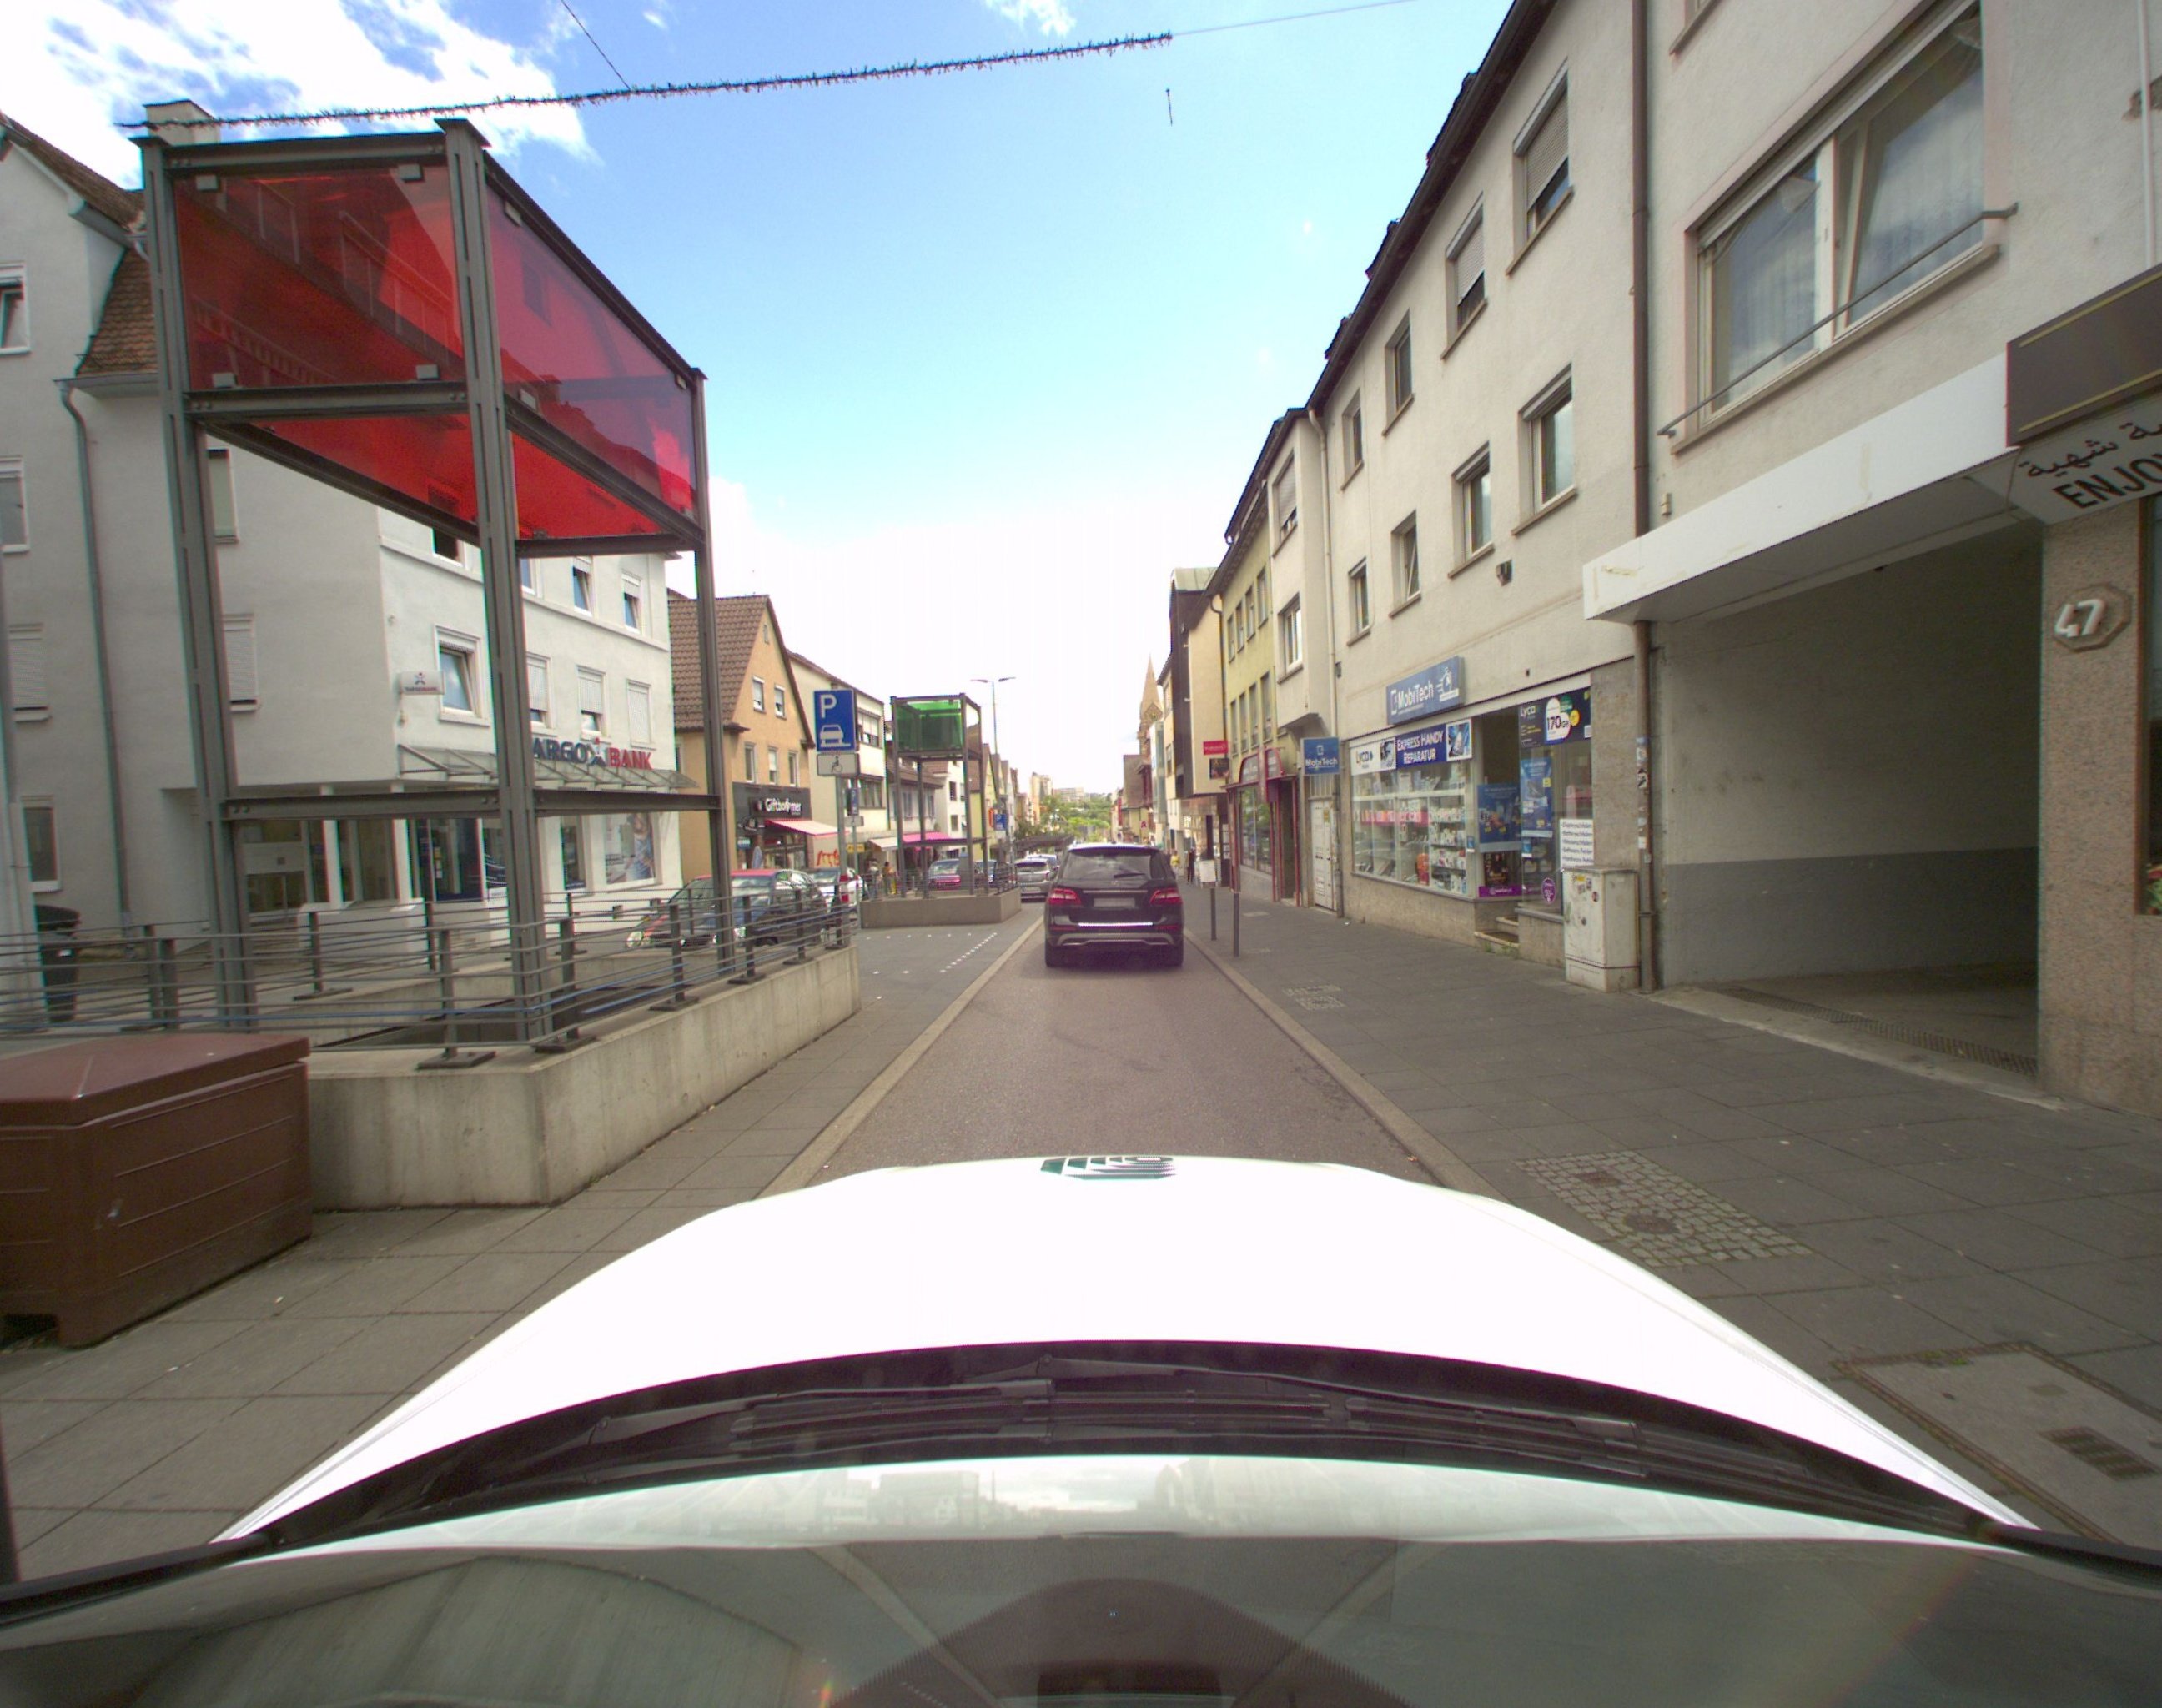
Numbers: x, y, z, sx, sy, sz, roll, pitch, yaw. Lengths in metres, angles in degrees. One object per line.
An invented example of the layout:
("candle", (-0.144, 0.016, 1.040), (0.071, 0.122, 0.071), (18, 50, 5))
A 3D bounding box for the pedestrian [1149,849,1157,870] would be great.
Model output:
("pedestrian", (5.804, 0.482, 65.834), (0.572, 1.689, 0.565), (0, -1, -5))

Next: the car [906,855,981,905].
("car", (-4.546, 0.817, 27.535), (1.733, 1.543, 4.194), (0, 0, 1))

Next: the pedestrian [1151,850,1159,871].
("pedestrian", (5.926, 0.505, 65.184), (0.572, 1.689, 0.565), (-2, 0, -5))

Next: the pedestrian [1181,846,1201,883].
("pedestrian", (5.127, 0.486, 37.977), (0.662, 1.689, 0.542), (-5, 0, -6))

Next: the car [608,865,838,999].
("car", (-4.739, 0.933, 11.401), (1.564, 1.475, 3.853), (-2, 0, -2))

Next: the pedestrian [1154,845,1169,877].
("pedestrian", (4.467, 0.367, 45.056), (0.708, 1.753, 0.787), (-2, 0, 1))

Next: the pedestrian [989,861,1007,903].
("pedestrian", (-2.935, 0.973, 28.748), (0.465, 1.431, 0.492), (-4, 0, 1))

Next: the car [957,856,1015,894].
("car", (-3.928, 0.825, 34.217), (1.731, 1.475, 3.888), (0, 0, 4))

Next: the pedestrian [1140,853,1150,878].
("pedestrian", (4.422, 0.788, 56.041), (0.620, 1.689, 0.565), (0, -1, -5))

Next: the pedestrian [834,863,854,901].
("pedestrian", (-10.269, 1.212, 35.336), (0.563, 1.573, 0.716), (-4, 0, 1))

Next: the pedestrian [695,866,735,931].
("pedestrian", (-9.693, 1.165, 21.587), (0.637, 1.689, 0.827), (-1, -1, -1))

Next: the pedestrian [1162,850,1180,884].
("pedestrian", (4.460, 0.655, 40.469), (0.708, 1.631, 0.835), (-4, 0, 1))

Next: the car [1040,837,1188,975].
("car", (0.415, 0.679, 12.460), (1.895, 1.747, 3.999), (0, 0, -1))

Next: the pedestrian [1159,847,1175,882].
("pedestrian", (4.468, 0.528, 42.340), (0.708, 1.753, 0.785), (-2, 0, 1))

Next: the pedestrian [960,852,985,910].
("pedestrian", (-3.209, 0.773, 24.107), (0.531, 1.672, 0.902), (-1, 0, 3))

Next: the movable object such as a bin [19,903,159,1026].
("movable object such as a bin", (-12.136, 1.329, 9.991), (0.687, 1.376, 0.808), (-2, 0, 1))

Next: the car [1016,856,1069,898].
("car", (-1.561, 0.940, 34.547), (1.949, 1.639, 4.315), (0, 0, 1))

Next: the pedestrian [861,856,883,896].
("pedestrian", (-9.083, 0.948, 35.374), (0.638, 1.689, 0.670), (-2, -1, 41))

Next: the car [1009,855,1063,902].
("car", (-1.510, 0.831, 28.631), (1.614, 1.532, 3.671), (0, 0, 1))

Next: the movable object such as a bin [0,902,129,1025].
("movable object such as a bin", (-13.169, 1.341, 10.166), (1.279, 1.376, 1.067), (-2, 0, 1))

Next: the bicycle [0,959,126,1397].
("bicycle", (-4.022, 0.992, 2.423), (1.772, 1.223, 0.460), (-2, -1, 0))

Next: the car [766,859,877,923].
("car", (-7.010, 0.941, 22.457), (1.673, 1.571, 4.123), (0, 0, 1))
